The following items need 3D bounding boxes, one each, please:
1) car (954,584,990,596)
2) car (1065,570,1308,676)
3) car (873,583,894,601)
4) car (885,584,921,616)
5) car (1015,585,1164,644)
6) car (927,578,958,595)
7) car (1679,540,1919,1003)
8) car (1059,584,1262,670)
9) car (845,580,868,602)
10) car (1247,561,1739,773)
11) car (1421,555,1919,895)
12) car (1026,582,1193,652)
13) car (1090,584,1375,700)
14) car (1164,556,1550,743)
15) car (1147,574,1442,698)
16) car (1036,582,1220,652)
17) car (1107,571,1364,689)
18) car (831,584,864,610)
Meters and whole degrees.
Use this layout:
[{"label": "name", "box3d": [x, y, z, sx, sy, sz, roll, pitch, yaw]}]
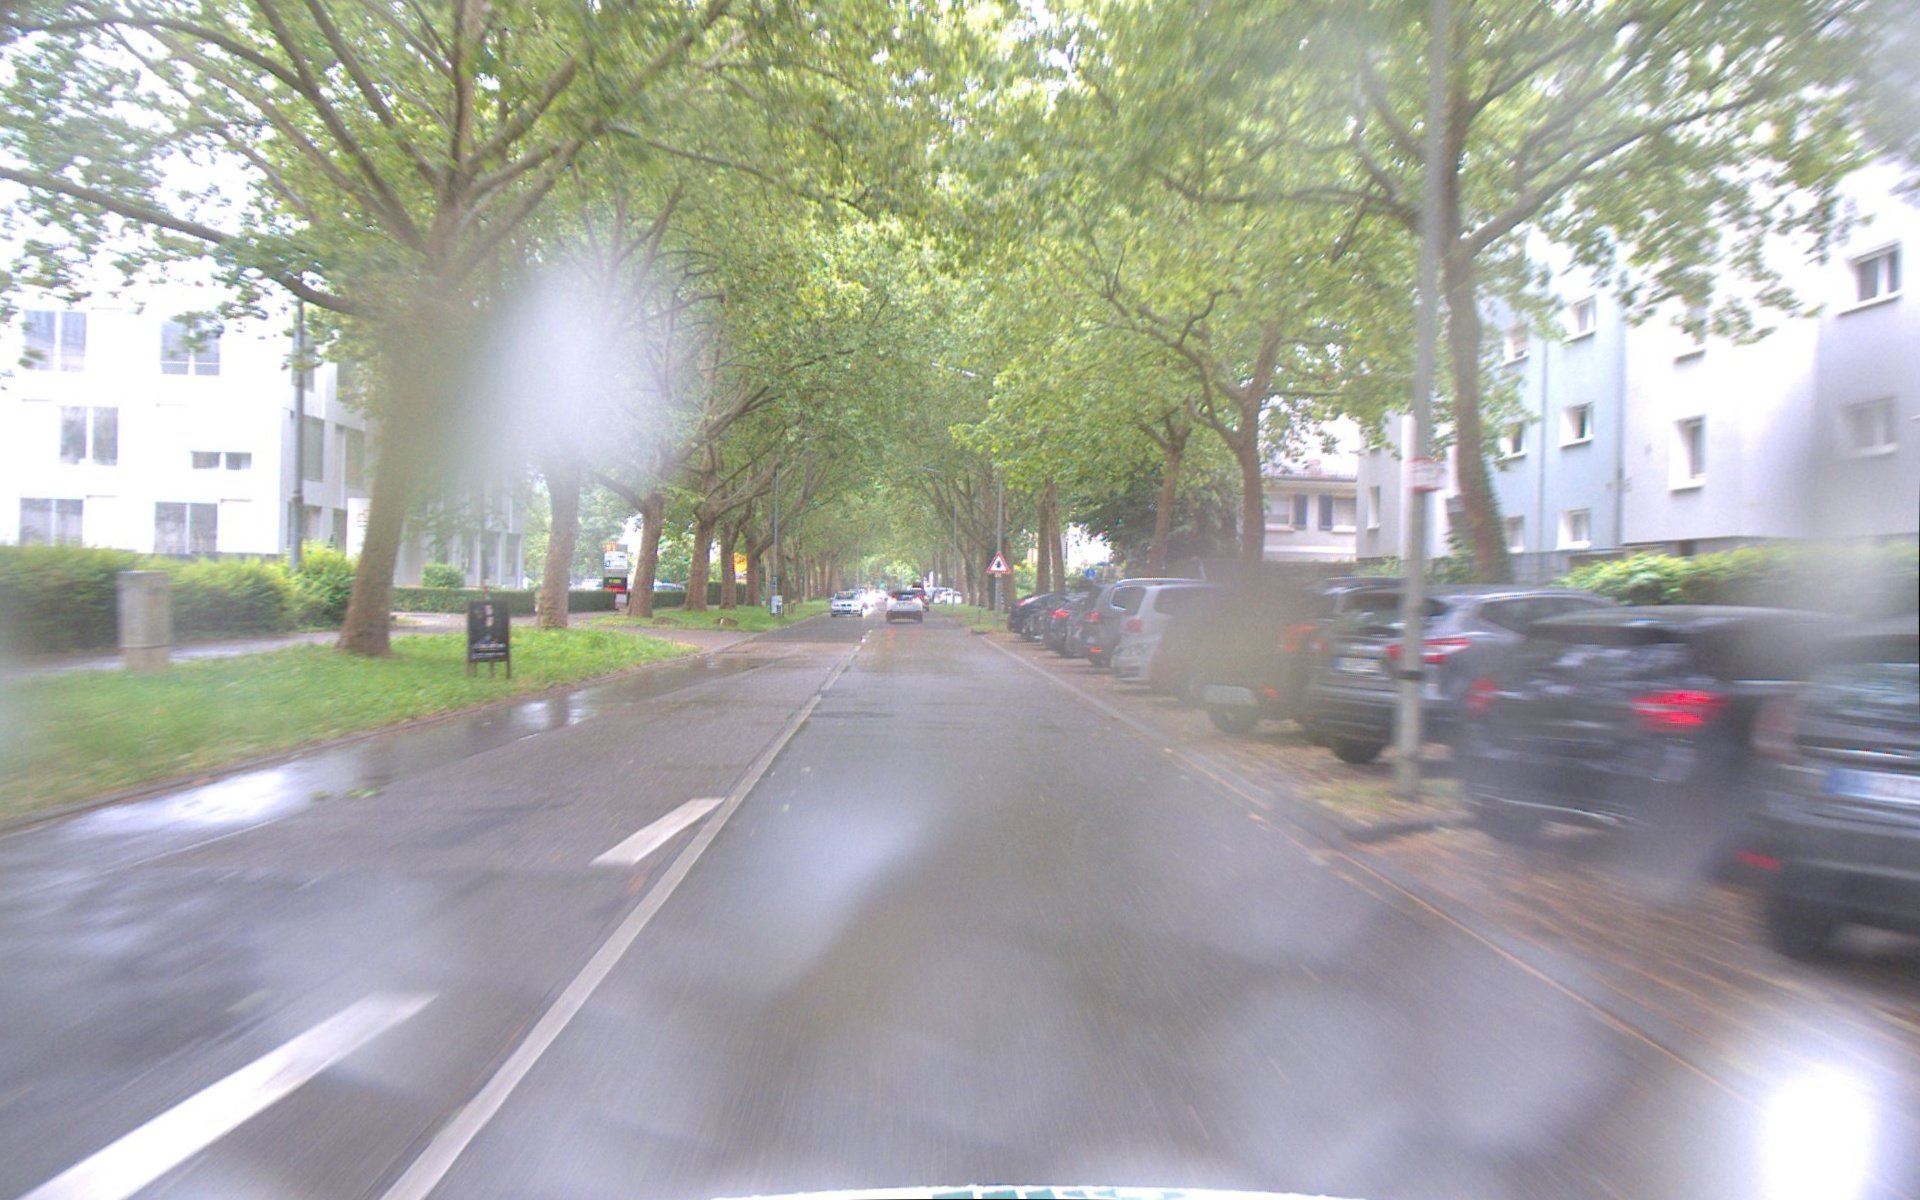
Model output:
[{"label": "car", "box3d": [1.241, -1.039, 166.507, 3.477, 1.175, 1.710, -1, 1, -5]}, {"label": "car", "box3d": [4.210, 0.414, 31.199, 4.250, 1.792, 1.818, 2, 1, -2]}, {"label": "car", "box3d": [-6.329, -0.651, 136.501, 1.672, 1.436, 3.643, -1, 1, -2]}, {"label": "car", "box3d": [-2.710, -0.030, 78.739, 1.672, 1.436, 3.643, -1, 1, -2]}, {"label": "car", "box3d": [3.649, 0.405, 46.975, 3.962, 1.557, 1.779, 1, 1, -5]}, {"label": "car", "box3d": [-2.054, -1.619, 194.306, 3.477, 1.873, 1.710, -1, 1, -4]}, {"label": "car", "box3d": [4.941, 0.644, 6.879, 3.720, 1.629, 1.783, 2, 1, -32]}, {"label": "car", "box3d": [4.069, 0.532, 33.950, 3.907, 1.564, 1.630, 2, 1, -2]}, {"label": "car", "box3d": [-8.384, -0.761, 134.512, 1.773, 1.713, 4.446, -1, 1, -3]}, {"label": "car", "box3d": [4.756, 0.551, 14.723, 3.943, 1.629, 2.016, 2, 1, -30]}, {"label": "car", "box3d": [4.807, 0.628, 9.824, 3.948, 1.629, 1.783, 2, 1, -32]}, {"label": "car", "box3d": [3.883, 0.424, 43.384, 4.126, 1.684, 1.913, 1, 1, -3]}, {"label": "car", "box3d": [4.058, 0.611, 25.028, 3.908, 1.539, 1.800, 2, 1, -4]}, {"label": "car", "box3d": [4.236, 0.424, 17.565, 3.814, 1.726, 1.819, -2, 2, -30]}, {"label": "car", "box3d": [4.421, 0.451, 22.255, 3.627, 1.563, 1.738, -1, 1, 1]}, {"label": "car", "box3d": [3.837, 0.368, 38.054, 3.956, 1.466, 1.684, -1, 1, -5]}, {"label": "car", "box3d": [4.526, 0.472, 27.548, 3.906, 1.757, 1.801, 2, 1, -1]}, {"label": "car", "box3d": [-6.366, -0.207, 93.830, 1.645, 1.413, 4.548, 0, 1, -1]}]
